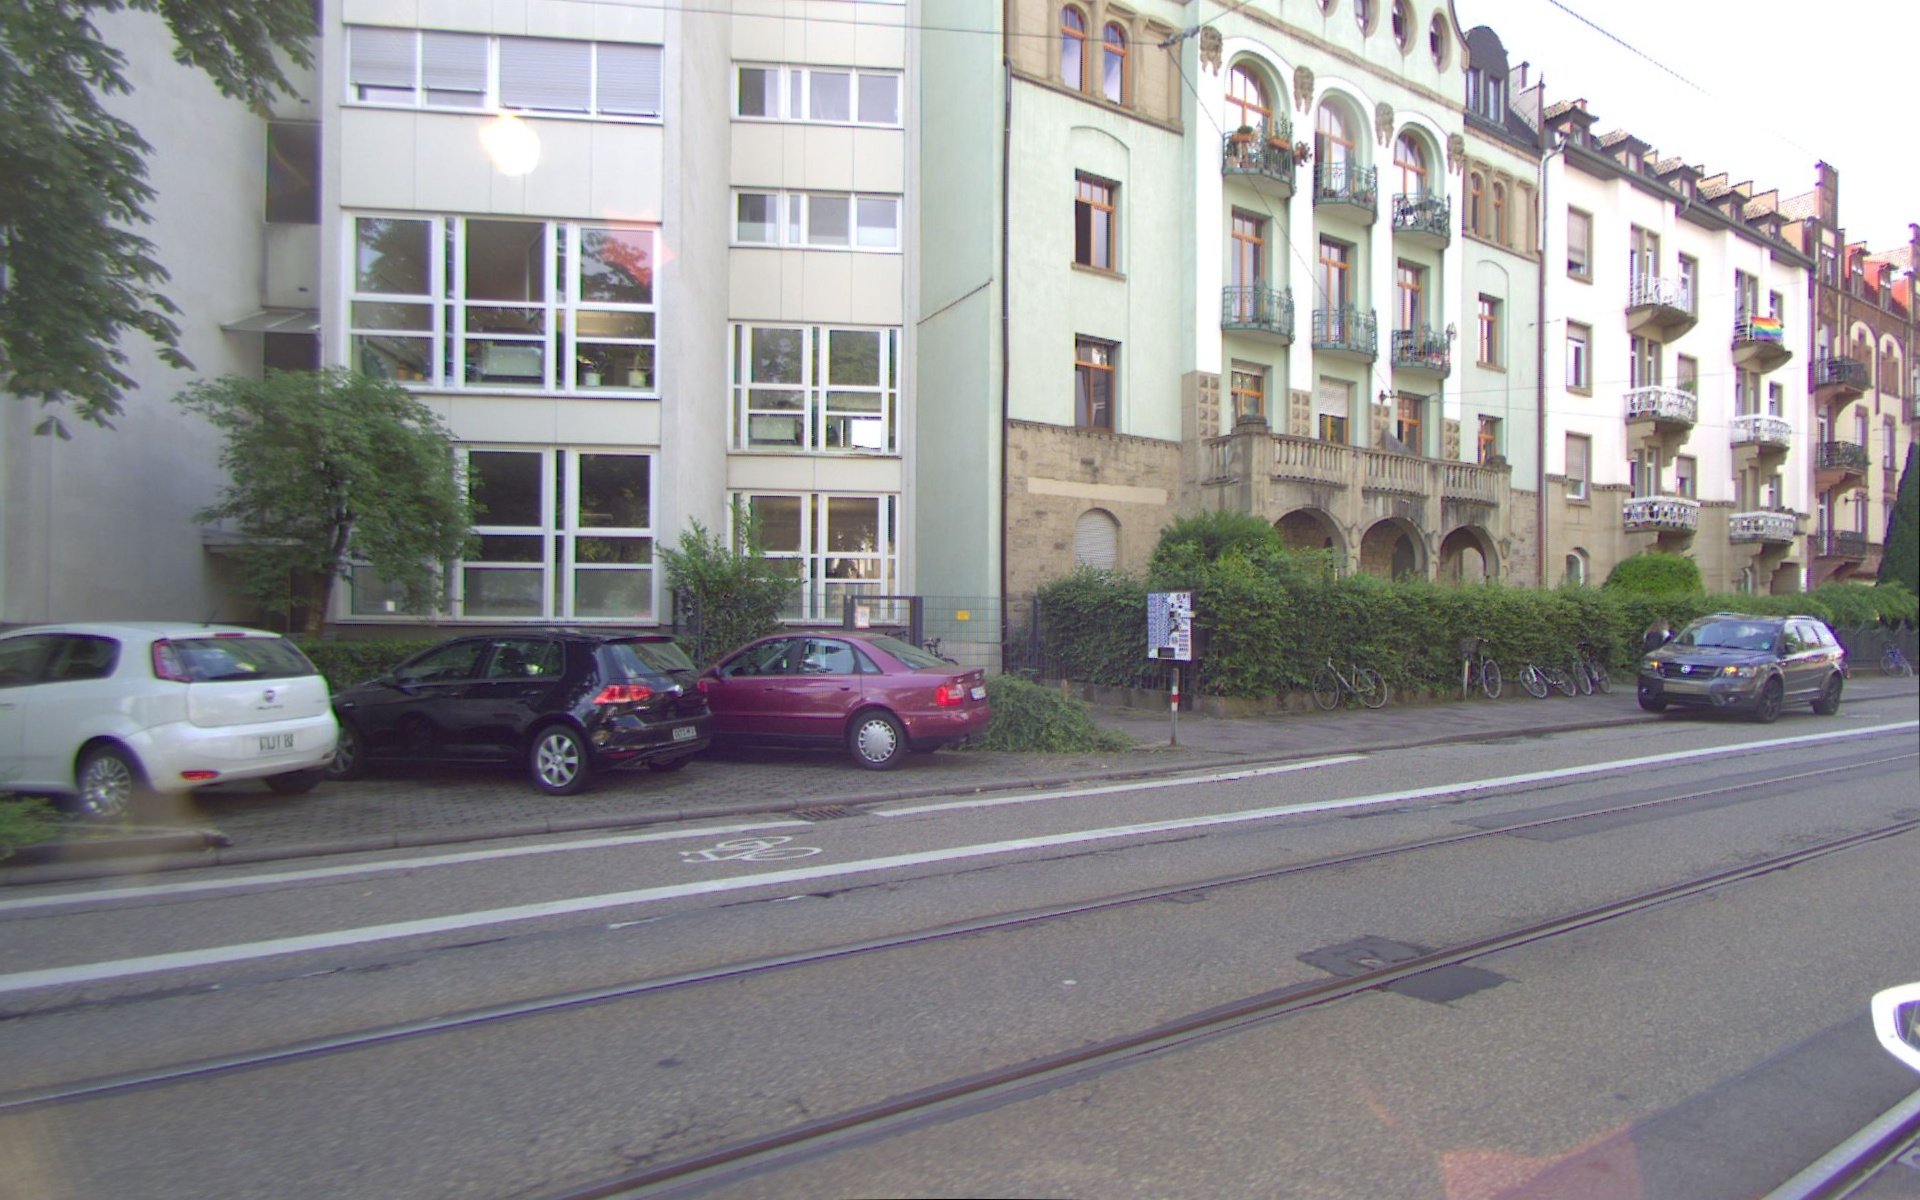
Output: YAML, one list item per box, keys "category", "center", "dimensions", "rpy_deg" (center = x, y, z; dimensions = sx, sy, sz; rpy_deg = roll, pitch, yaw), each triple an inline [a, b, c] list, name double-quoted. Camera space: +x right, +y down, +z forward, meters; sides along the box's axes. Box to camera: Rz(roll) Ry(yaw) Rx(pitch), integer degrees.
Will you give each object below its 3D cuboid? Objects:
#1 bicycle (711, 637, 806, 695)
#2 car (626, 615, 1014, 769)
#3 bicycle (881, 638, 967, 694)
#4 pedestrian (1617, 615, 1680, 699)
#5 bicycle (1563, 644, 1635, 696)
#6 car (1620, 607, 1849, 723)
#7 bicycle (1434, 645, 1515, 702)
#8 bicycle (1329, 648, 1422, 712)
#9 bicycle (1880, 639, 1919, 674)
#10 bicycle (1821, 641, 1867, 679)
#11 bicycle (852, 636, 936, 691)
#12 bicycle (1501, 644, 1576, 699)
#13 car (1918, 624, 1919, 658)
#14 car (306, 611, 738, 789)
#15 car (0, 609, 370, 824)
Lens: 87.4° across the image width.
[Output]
- category: "bicycle"
  center: [-3.945, 1.296, 19.753]
  dimensions: [1.775, 1.079, 0.384]
  rpy_deg: [1, 1, -4]
- category: "car"
  center: [-1.502, 0.992, 11.262]
  dimensions: [3.891, 1.503, 1.848]
  rpy_deg: [-2, -3, 16]
- category: "bicycle"
  center: [-0.718, 1.311, 20.234]
  dimensions: [1.791, 1.079, 0.380]
  rpy_deg: [1, 1, -34]
- category: "pedestrian"
  center: [13.556, 1.103, 19.787]
  dimensions: [0.871, 1.589, 0.677]
  rpy_deg: [1, 1, -29]
- category: "bicycle"
  center: [12.874, 1.393, 20.206]
  dimensions: [1.898, 0.972, 0.381]
  rpy_deg: [1, 1, -30]
- category: "car"
  center: [13.603, 1.051, 17.556]
  dimensions: [4.833, 1.786, 1.774]
  rpy_deg: [1, -1, -34]
- category: "bicycle"
  center: [9.277, 1.305, 18.075]
  dimensions: [1.788, 0.972, 0.381]
  rpy_deg: [1, 1, -30]
- category: "bicycle"
  center: [6.818, 1.283, 16.445]
  dimensions: [1.788, 0.972, 0.381]
  rpy_deg: [1, 1, -30]
- category: "bicycle"
  center: [27.455, 1.650, 29.303]
  dimensions: [1.685, 0.972, 0.424]
  rpy_deg: [1, 1, -30]
- category: "bicycle"
  center: [23.764, 1.597, 26.999]
  dimensions: [1.780, 0.988, 0.381]
  rpy_deg: [1, 1, -30]
- category: "bicycle"
  center: [-1.360, 1.309, 21.020]
  dimensions: [1.791, 1.079, 0.380]
  rpy_deg: [1, 1, -34]
- category: "bicycle"
  center: [11.040, 1.346, 19.154]
  dimensions: [1.788, 0.972, 0.381]
  rpy_deg: [1, 1, -30]
- category: "car"
  center: [44.777, 1.884, 44.358]
  dimensions: [1.658, 1.533, 3.223]
  rpy_deg: [2, 0, -28]
- category: "car"
  center: [-4.262, 0.934, 9.885]
  dimensions: [3.732, 1.503, 1.698]
  rpy_deg: [-2, -3, 19]
- category: "car"
  center: [-7.148, 0.905, 8.335]
  dimensions: [3.730, 1.503, 1.699]
  rpy_deg: [-1, -3, 13]
